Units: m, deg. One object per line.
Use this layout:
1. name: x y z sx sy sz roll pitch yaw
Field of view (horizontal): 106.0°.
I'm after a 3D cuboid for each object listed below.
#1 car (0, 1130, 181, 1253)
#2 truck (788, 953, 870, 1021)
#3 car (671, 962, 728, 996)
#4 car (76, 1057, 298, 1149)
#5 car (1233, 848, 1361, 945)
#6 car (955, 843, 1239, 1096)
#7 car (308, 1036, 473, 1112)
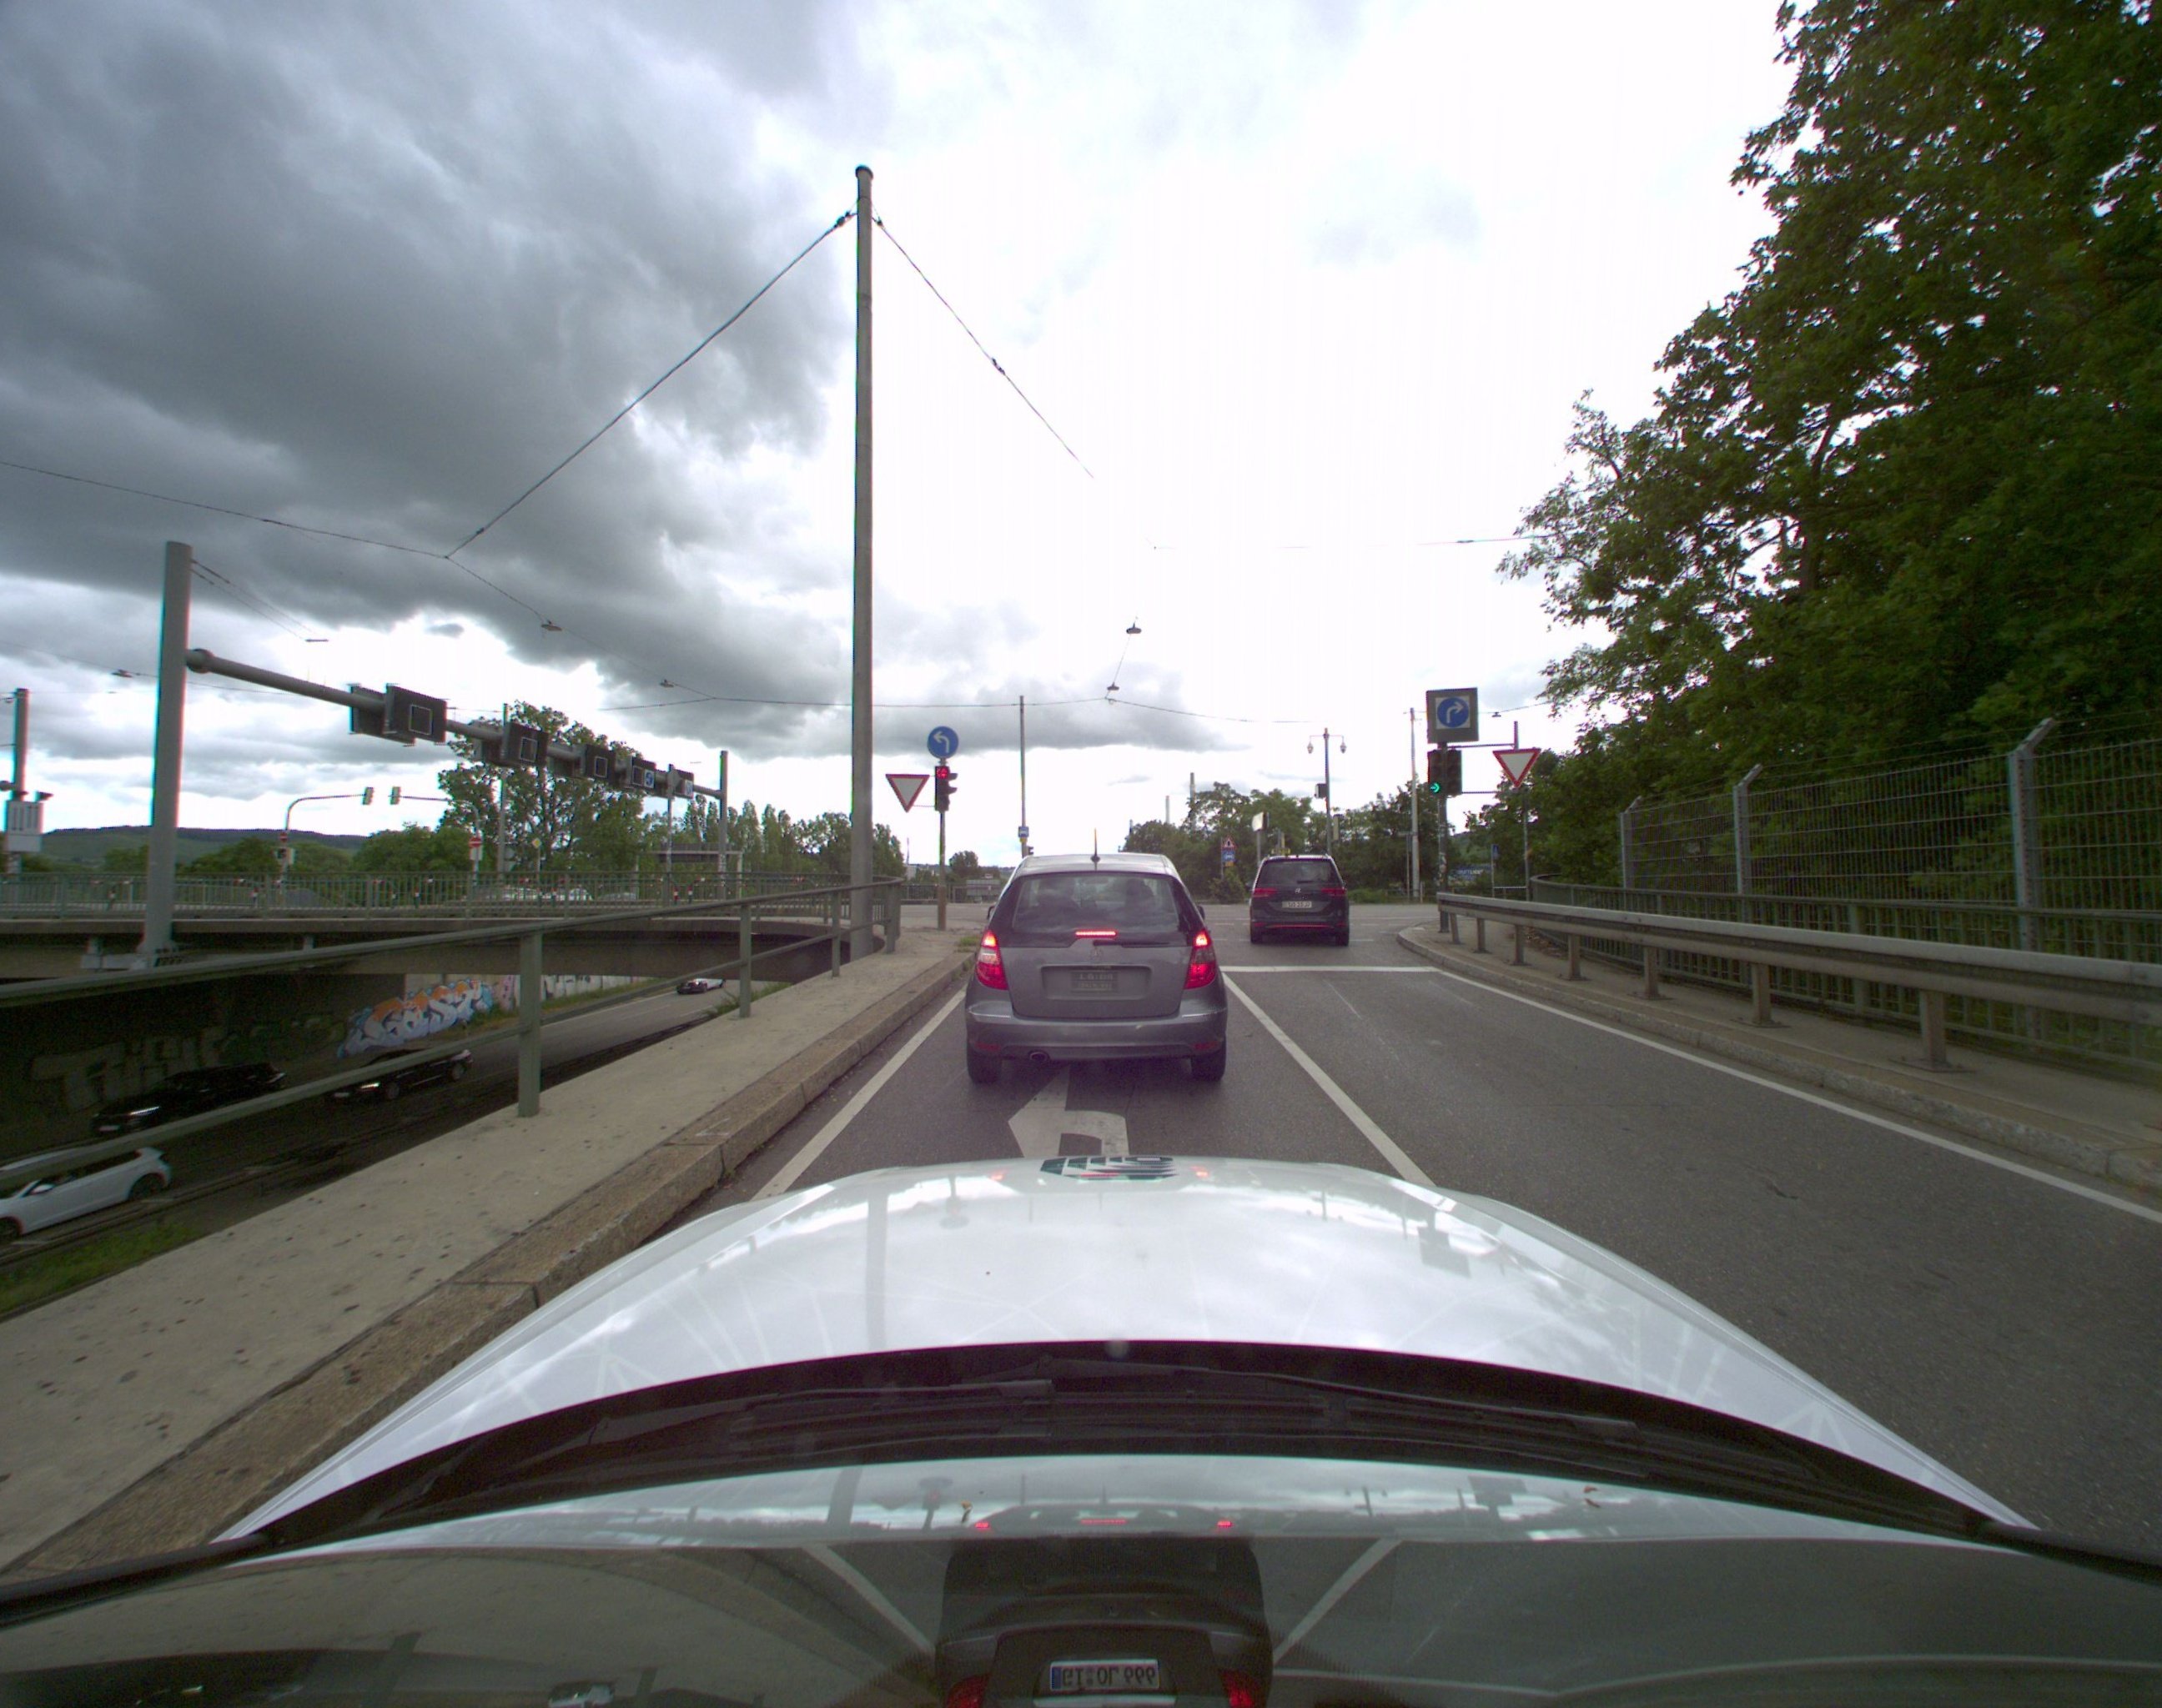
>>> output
1. car: -22.303 7.273 17.408 1.768 1.494 3.897 -3 -3 1
2. truck: -14.311 7.494 46.787 2.224 3.009 7.233 -2 -3 2
3. car: -28.069 9.176 60.087 1.942 1.908 4.905 -2 -3 -2
4. car: -28.414 7.877 26.178 1.986 1.626 4.580 -3 -3 2
5. car: 4.087 0.742 16.065 1.787 1.653 4.157 0 -1 6
6. car: 0.158 0.724 6.774 1.733 1.543 3.542 0 -1 2
7. car: -24.896 7.890 29.634 1.986 1.626 4.580 -3 -3 2
